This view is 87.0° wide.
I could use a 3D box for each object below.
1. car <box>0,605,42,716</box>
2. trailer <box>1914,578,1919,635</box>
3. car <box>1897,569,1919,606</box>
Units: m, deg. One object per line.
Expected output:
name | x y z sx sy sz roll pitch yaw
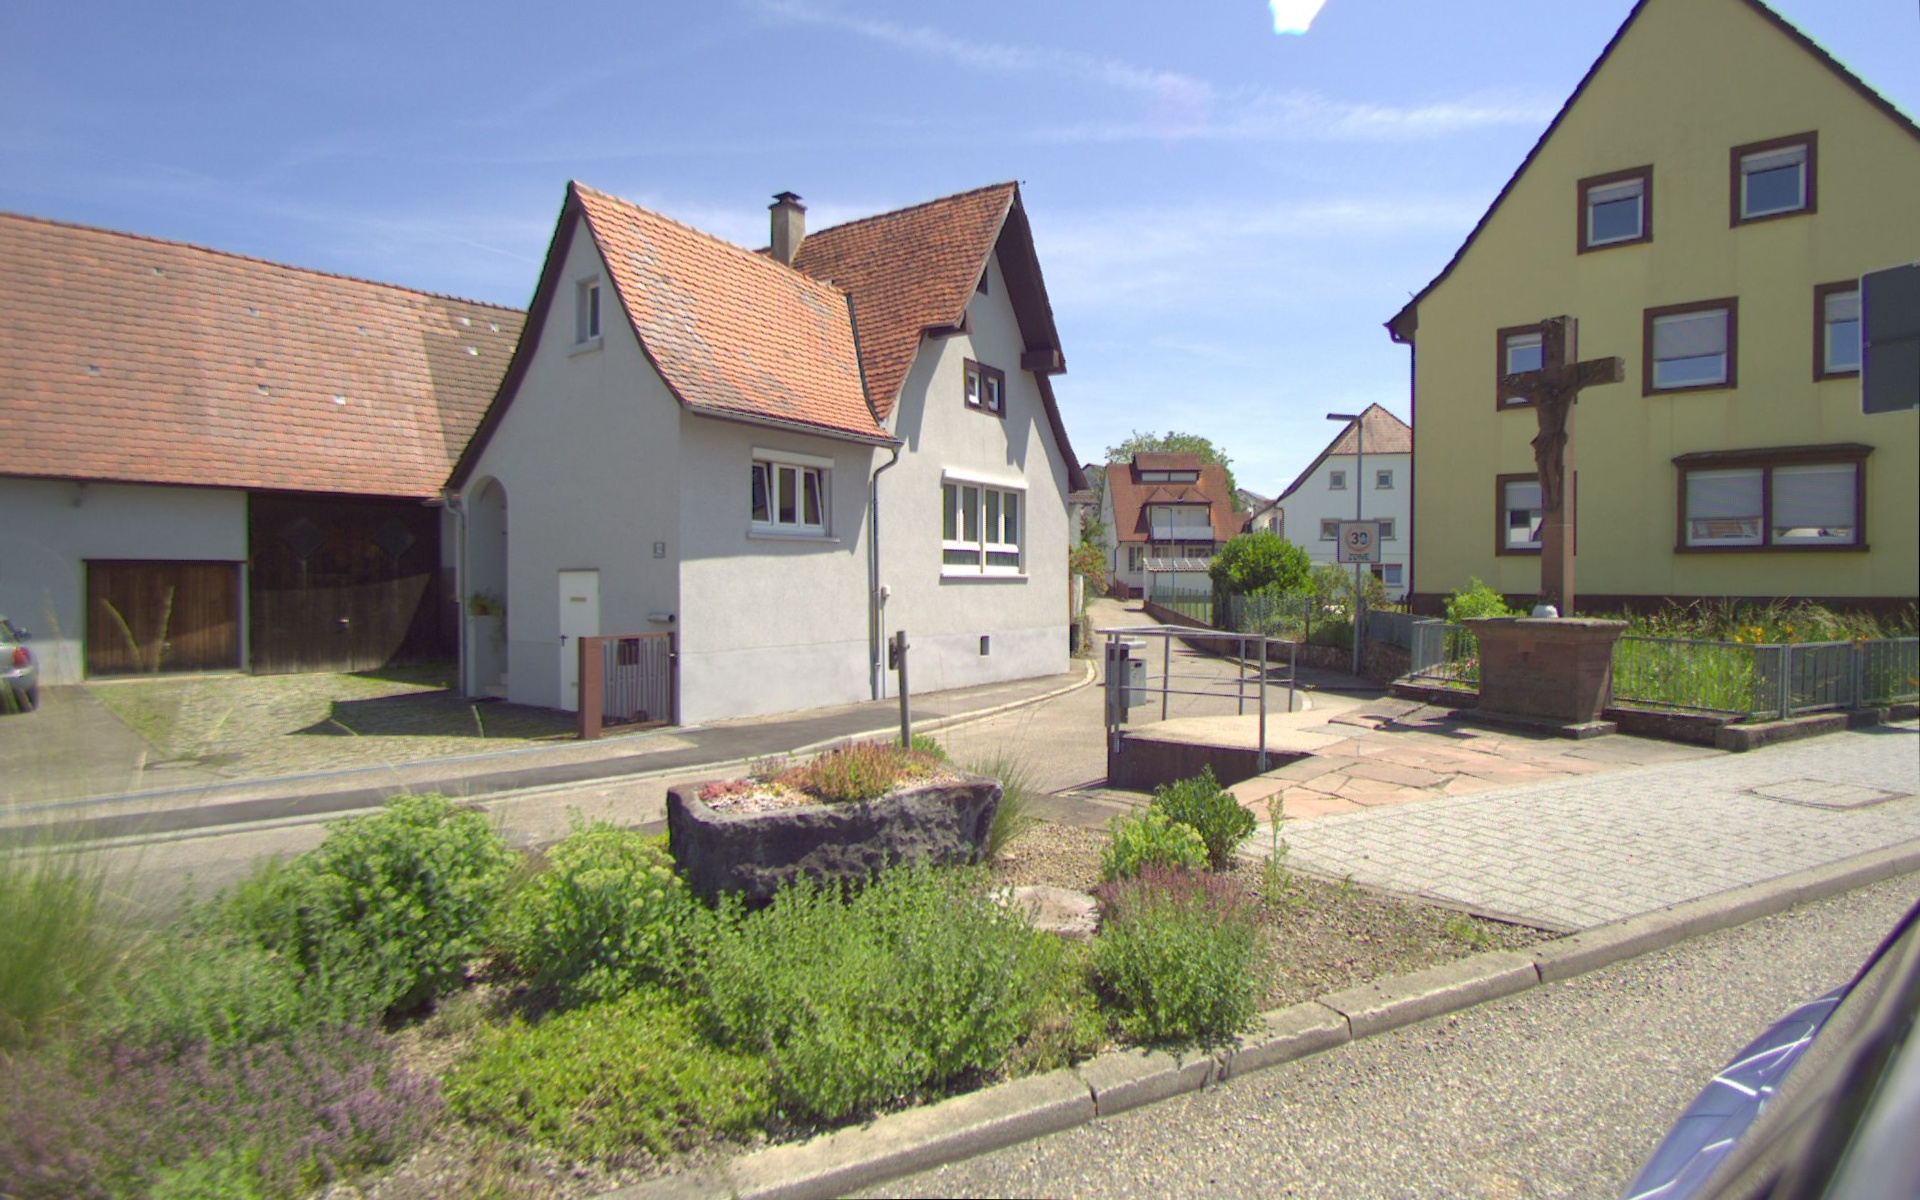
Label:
car | -15.240 0.873 15.188 3.721 1.471 1.788 2 2 41
trailer | 28.494 0.178 26.106 5.327 1.565 2.113 0 1 34
car | 42.610 -0.553 42.817 4.100 1.567 1.827 0 1 36
